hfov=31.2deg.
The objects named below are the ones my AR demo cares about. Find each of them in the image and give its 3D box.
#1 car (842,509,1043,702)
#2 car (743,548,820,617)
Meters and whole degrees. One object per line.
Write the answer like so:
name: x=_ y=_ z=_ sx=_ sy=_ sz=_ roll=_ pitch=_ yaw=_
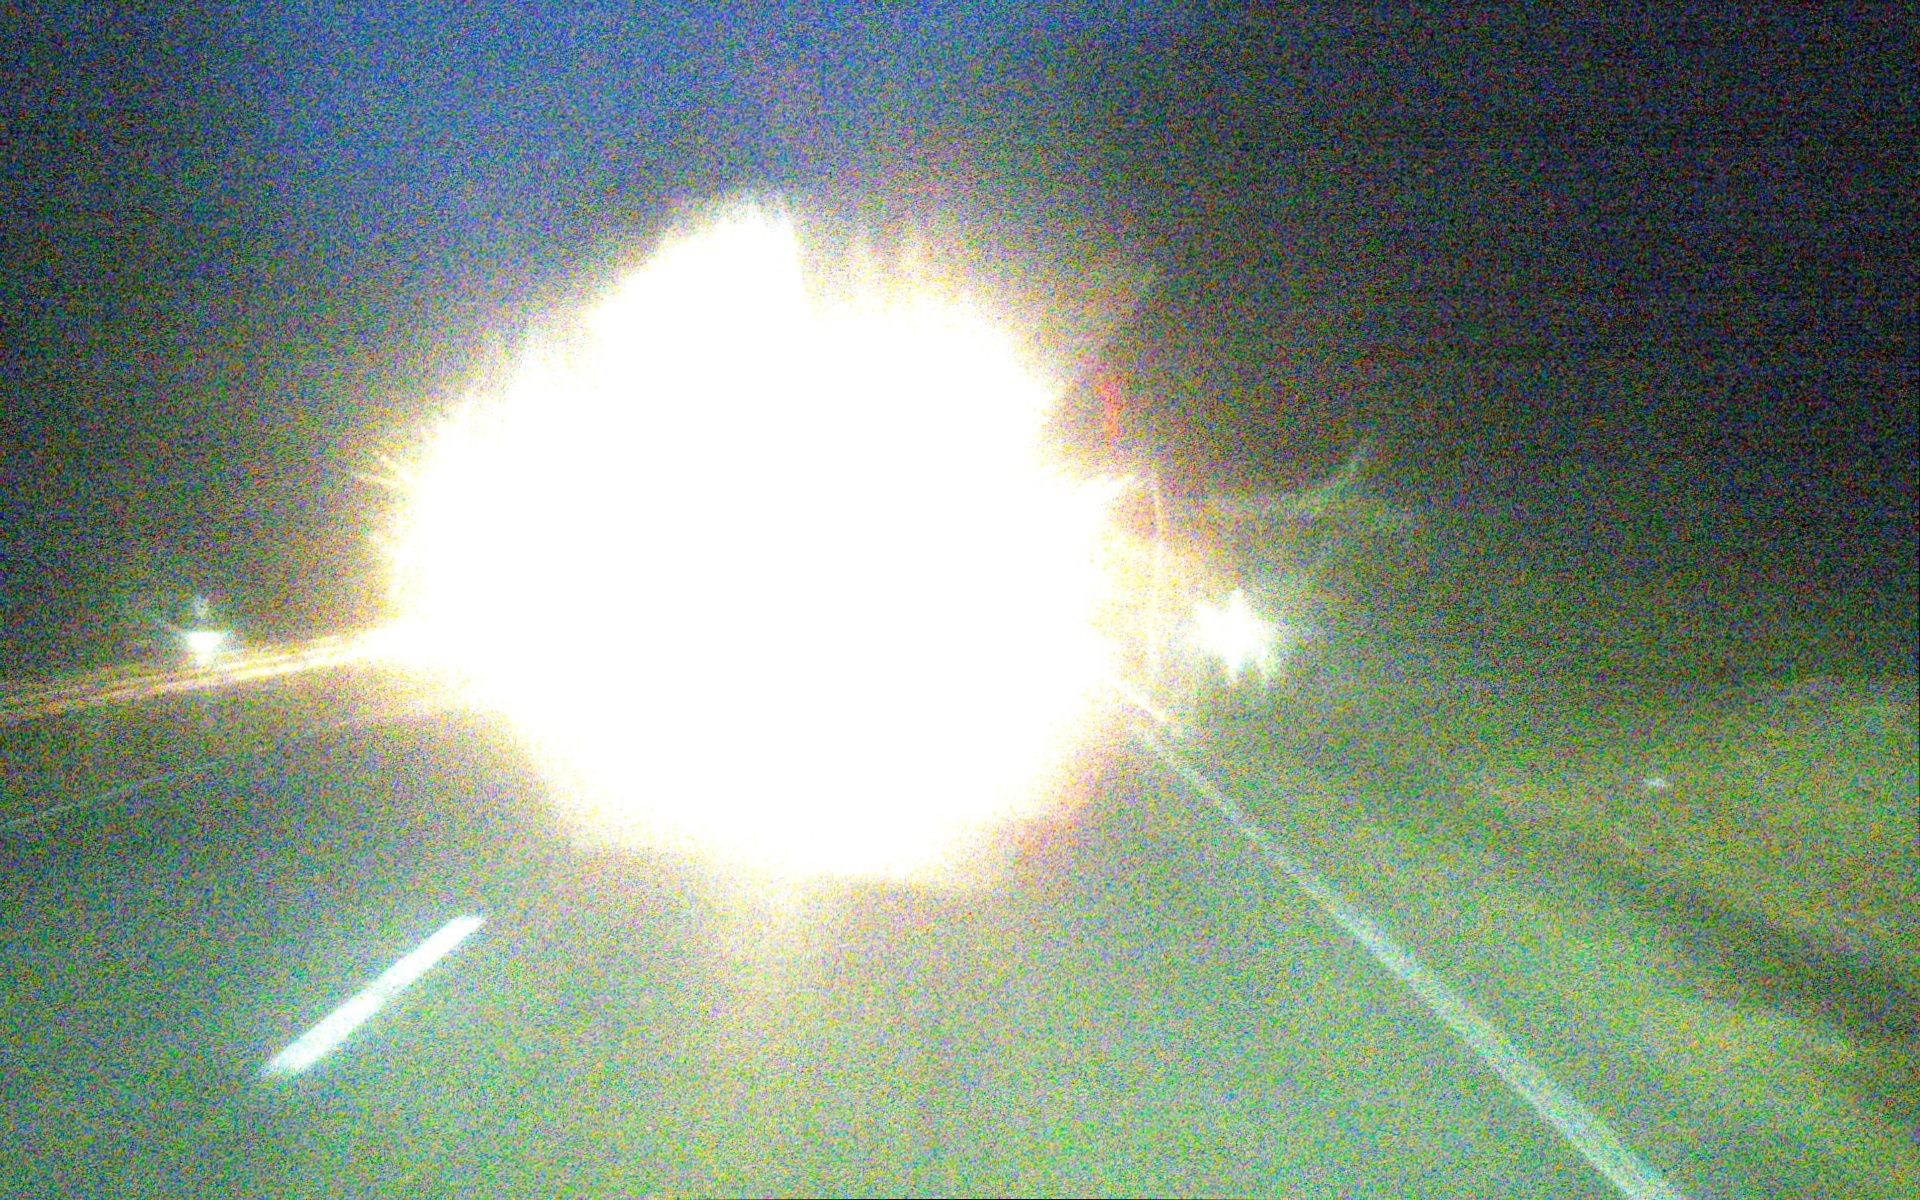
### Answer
car: x=-0.214 y=0.006 z=37.033 sx=1.993 sy=1.800 sz=3.918 roll=-2 pitch=3 yaw=-1
car: x=-4.688 y=-0.483 z=89.796 sx=1.634 sy=1.575 sz=3.746 roll=-2 pitch=3 yaw=-8
